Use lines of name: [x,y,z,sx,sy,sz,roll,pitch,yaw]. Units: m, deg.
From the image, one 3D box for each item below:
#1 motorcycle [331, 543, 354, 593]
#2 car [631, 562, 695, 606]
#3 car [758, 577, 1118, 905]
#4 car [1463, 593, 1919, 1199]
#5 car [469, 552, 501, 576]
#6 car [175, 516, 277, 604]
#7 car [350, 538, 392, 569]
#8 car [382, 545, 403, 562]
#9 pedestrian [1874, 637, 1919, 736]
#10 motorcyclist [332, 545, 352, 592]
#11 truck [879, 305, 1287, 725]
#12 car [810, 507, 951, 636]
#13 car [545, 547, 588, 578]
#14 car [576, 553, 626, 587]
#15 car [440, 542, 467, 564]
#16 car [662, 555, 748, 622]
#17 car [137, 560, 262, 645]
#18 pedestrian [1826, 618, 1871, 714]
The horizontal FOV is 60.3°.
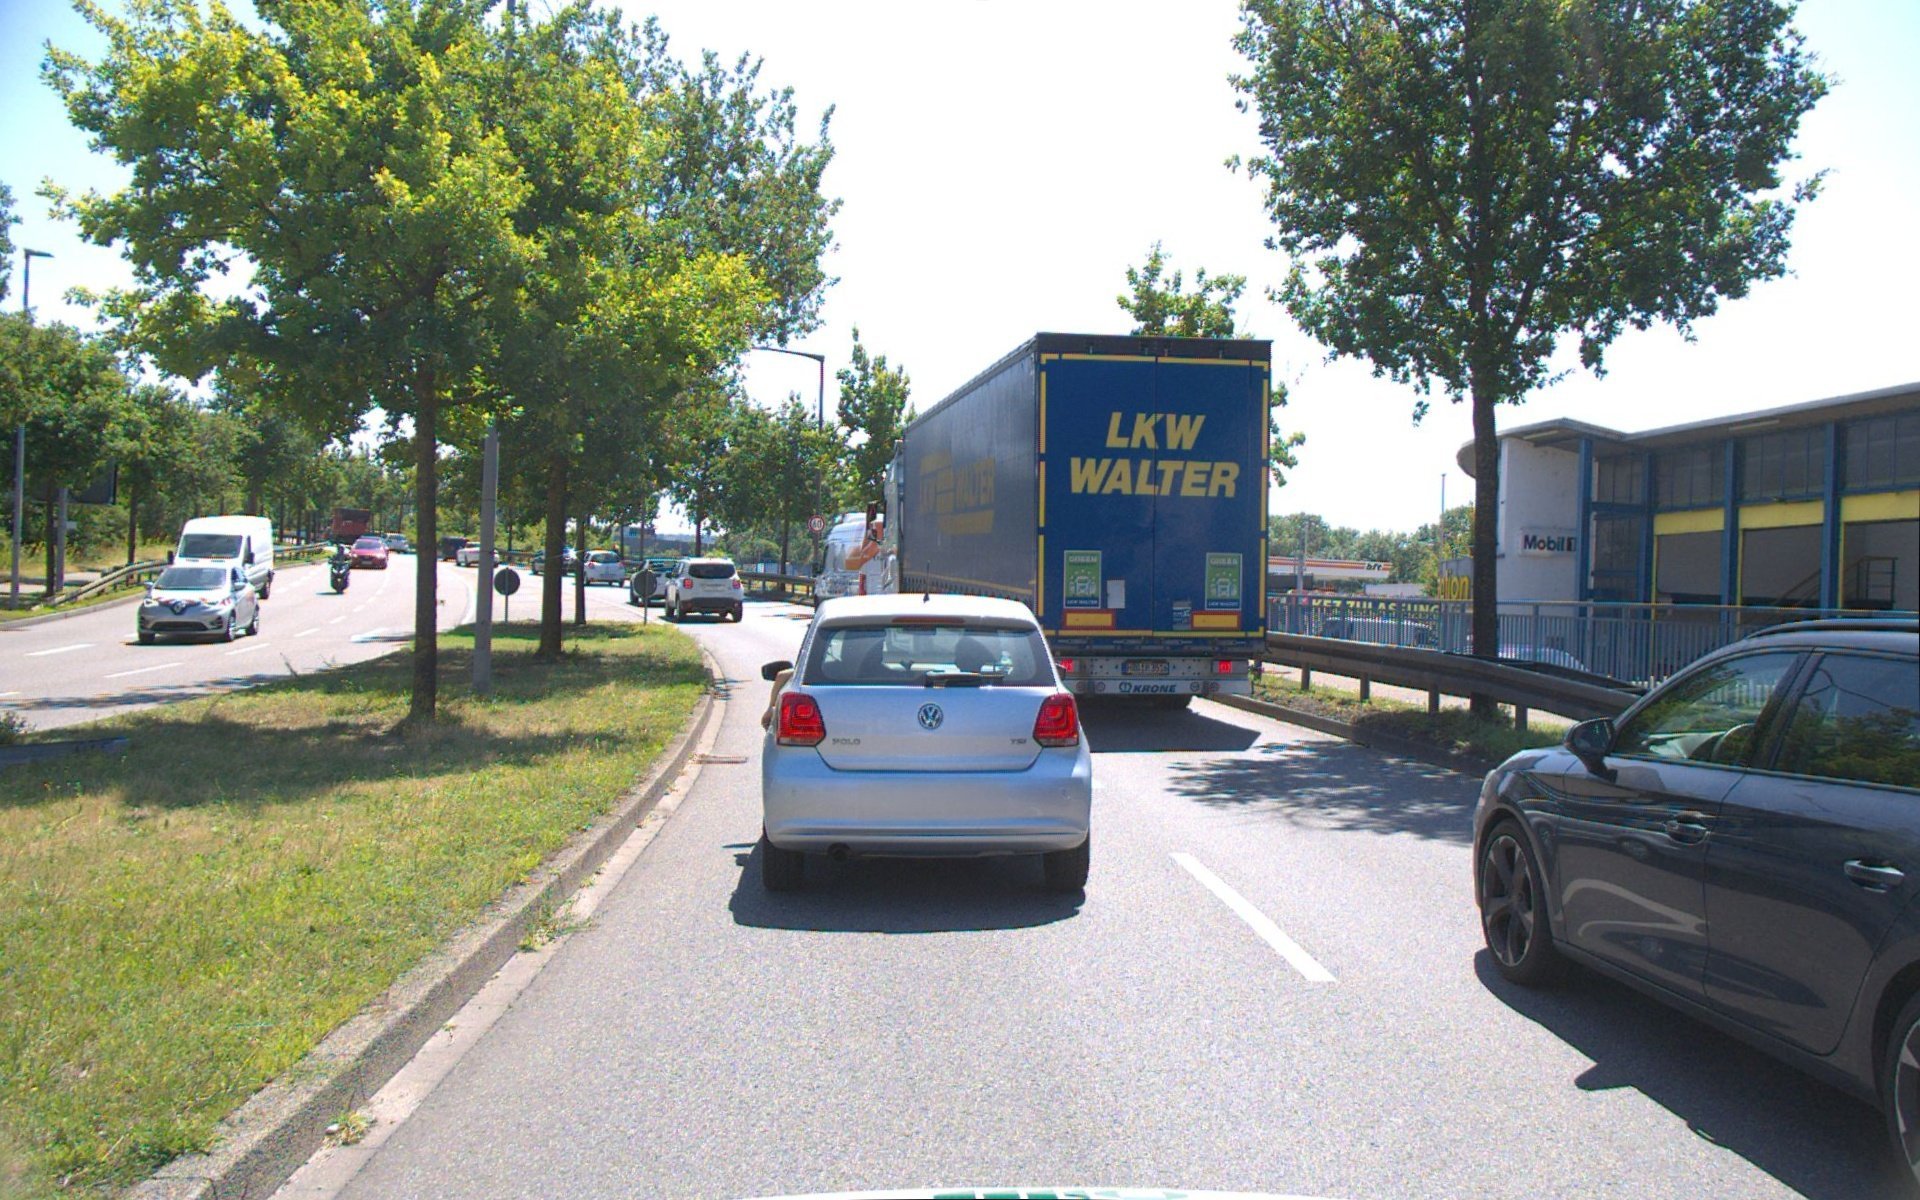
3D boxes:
motorcycle: [-21.700,-1.110,58.153,0.588,1.707,2.413,1,0,-17]
car: [-9.781,-0.548,54.241,1.472,1.383,3.642,1,1,-20]
car: [-0.155,0.643,9.281,1.613,1.464,3.535,1,0,-2]
car: [3.056,0.738,4.870,1.573,1.481,4.231,1,0,-4]
car: [-27.336,-2.052,95.221,1.436,1.337,3.614,1,0,-21]
car: [-22.435,-1.258,50.801,2.060,2.543,5.785,0,2,-16]
car: [-30.342,-2.373,85.313,1.801,1.462,4.504,-1,0,-17]
car: [-42.624,-3.499,124.114,1.303,1.158,2.975,1,0,-22]
pedestrian: [16.823,1.542,29.704,0.418,1.732,0.588,1,0,-9]
motorcyclist: [-21.707,-1.106,58.089,0.577,1.655,0.560,1,0,-17]
truck: [0.902,-0.987,25.262,2.780,4.271,16.446,1,1,-8]
car: [-2.122,-0.766,41.631,2.140,2.950,6.332,1,2,-16]
car: [-19.871,-1.869,83.503,1.641,1.490,3.558,1,0,-21]
car: [-15.670,-1.323,72.094,1.585,1.383,3.640,1,1,-21]
car: [-32.399,-2.996,105.702,1.397,1.337,3.316,1,0,-21]
car: [-7.152,-0.311,46.091,1.872,1.748,4.205,1,0,-16]
car: [-15.582,-0.003,34.072,1.607,1.594,4.058,0,2,-14]
pedestrian: [16.349,1.207,30.439,0.512,1.732,0.487,1,0,-8]
